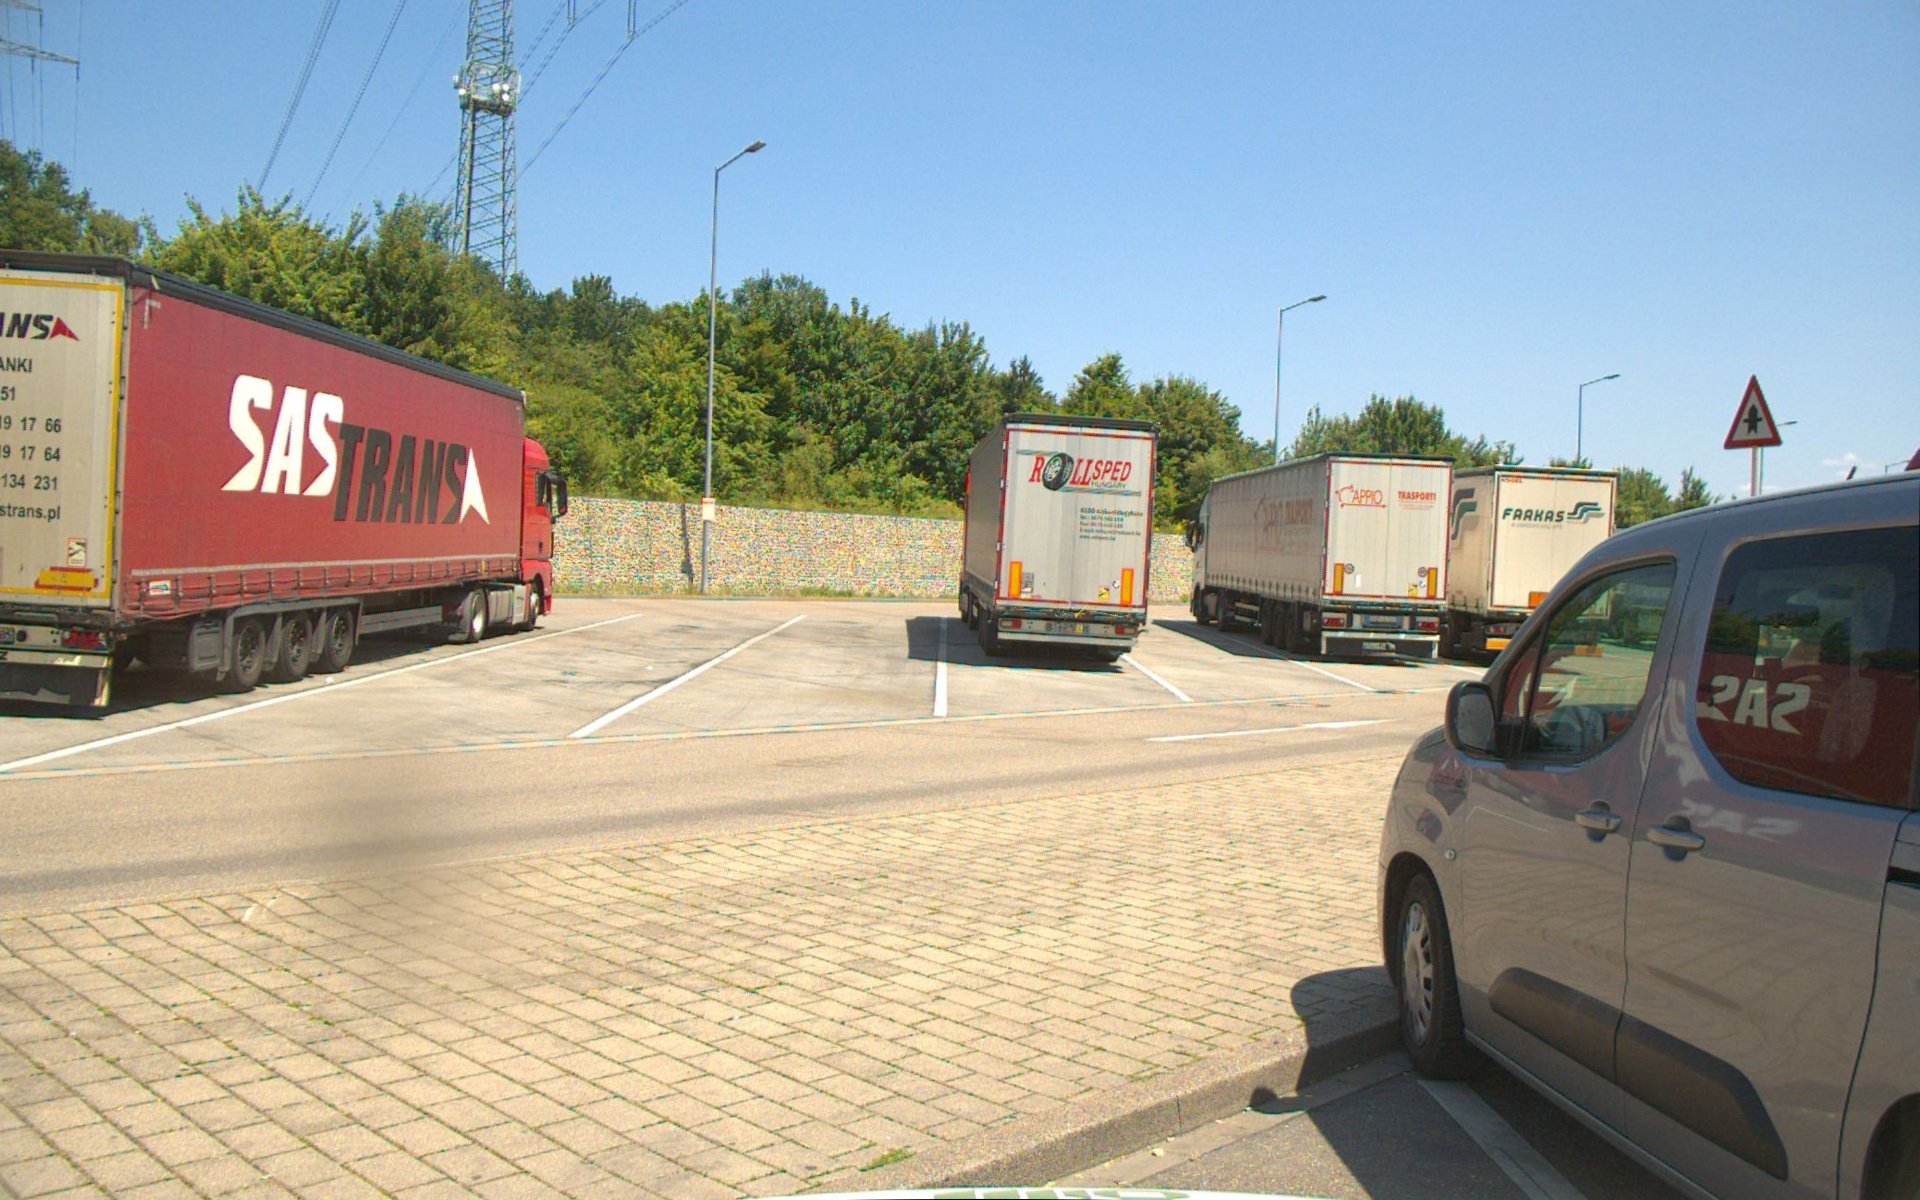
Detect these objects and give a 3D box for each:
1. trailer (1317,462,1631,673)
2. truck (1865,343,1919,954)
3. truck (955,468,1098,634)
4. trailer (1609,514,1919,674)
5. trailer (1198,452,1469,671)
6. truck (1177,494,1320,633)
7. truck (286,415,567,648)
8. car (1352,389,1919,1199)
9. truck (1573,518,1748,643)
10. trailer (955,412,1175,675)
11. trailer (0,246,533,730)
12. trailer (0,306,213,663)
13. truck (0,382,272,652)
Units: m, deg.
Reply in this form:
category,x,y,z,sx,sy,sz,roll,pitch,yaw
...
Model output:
category,x,y,z,sx,sy,sz,roll,pitch,yaw
trailer,11.737,-0.931,39.968,2.754,4.058,14.395,3,2,-1
truck,5.005,0.202,4.992,1.937,2.668,5.307,1,0,4
truck,1.505,-1.238,40.545,3.041,3.628,5.900,3,2,-1
trailer,21.846,-0.385,44.519,2.754,3.568,14.395,3,2,-1
trailer,8.174,-1.026,38.863,2.754,4.058,14.395,3,2,-1
truck,8.056,-1.089,46.963,2.805,3.582,5.900,3,2,-1
truck,-8.787,-1.151,28.018,2.793,3.385,5.900,3,2,-1
car,2.443,0.605,3.868,1.832,1.896,4.174,3,1,-2
truck,21.769,-0.689,51.749,2.746,3.582,5.900,3,2,-1
trailer,1.661,-1.192,33.654,3.070,4.058,14.393,3,2,-1
trailer,-8.722,-1.291,21.447,2.735,4.155,14.131,3,2,-1
trailer,-12.549,-1.337,17.725,2.739,4.155,14.131,3,2,-1
truck,-12.648,-1.214,24.030,2.793,3.385,5.900,3,2,-1
